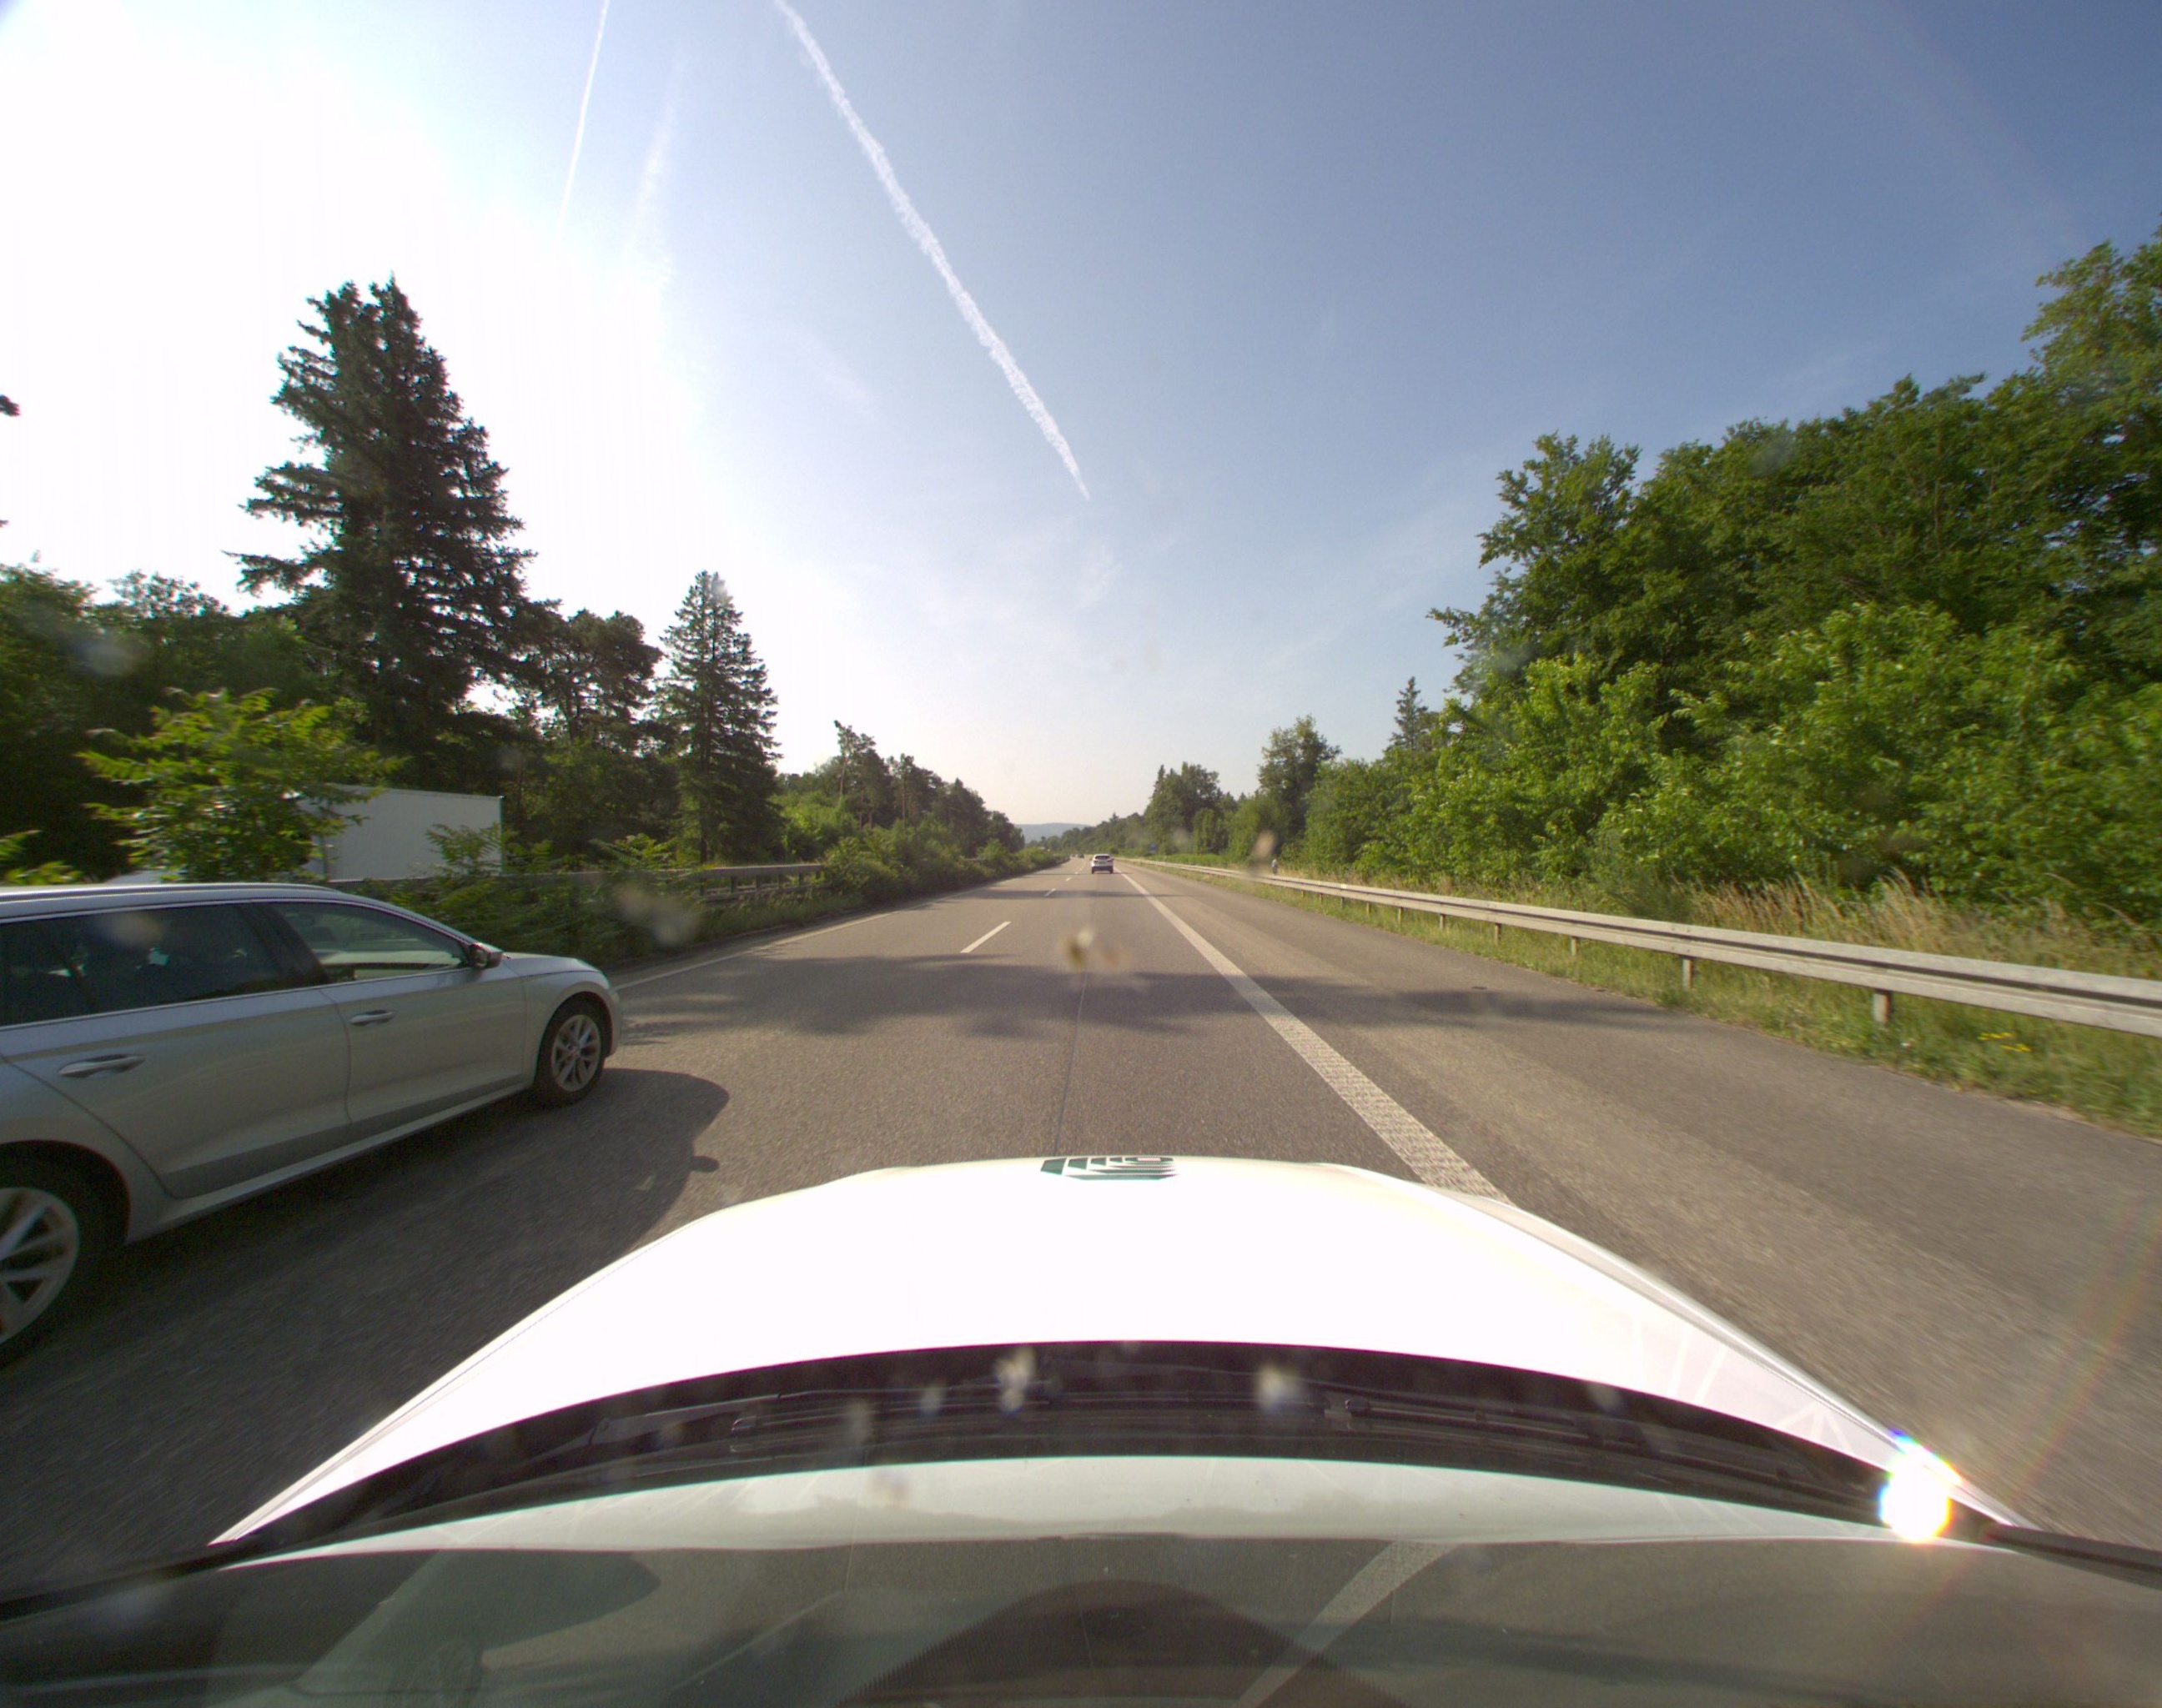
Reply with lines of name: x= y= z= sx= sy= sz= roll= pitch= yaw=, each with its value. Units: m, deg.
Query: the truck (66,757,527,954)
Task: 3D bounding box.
truck: x=-15.427 y=0.023 z=17.072 sx=2.453 sy=3.176 sz=7.230 roll=-2 pitch=0 yaw=1

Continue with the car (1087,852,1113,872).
car: x=1.545 y=0.660 z=67.380 sx=1.869 sy=1.586 sz=3.996 roll=1 pitch=0 yaw=-3

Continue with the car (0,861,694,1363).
car: x=-4.064 y=0.802 z=3.864 sx=1.786 sy=1.438 sz=5.280 roll=-1 pitch=0 yaw=1
